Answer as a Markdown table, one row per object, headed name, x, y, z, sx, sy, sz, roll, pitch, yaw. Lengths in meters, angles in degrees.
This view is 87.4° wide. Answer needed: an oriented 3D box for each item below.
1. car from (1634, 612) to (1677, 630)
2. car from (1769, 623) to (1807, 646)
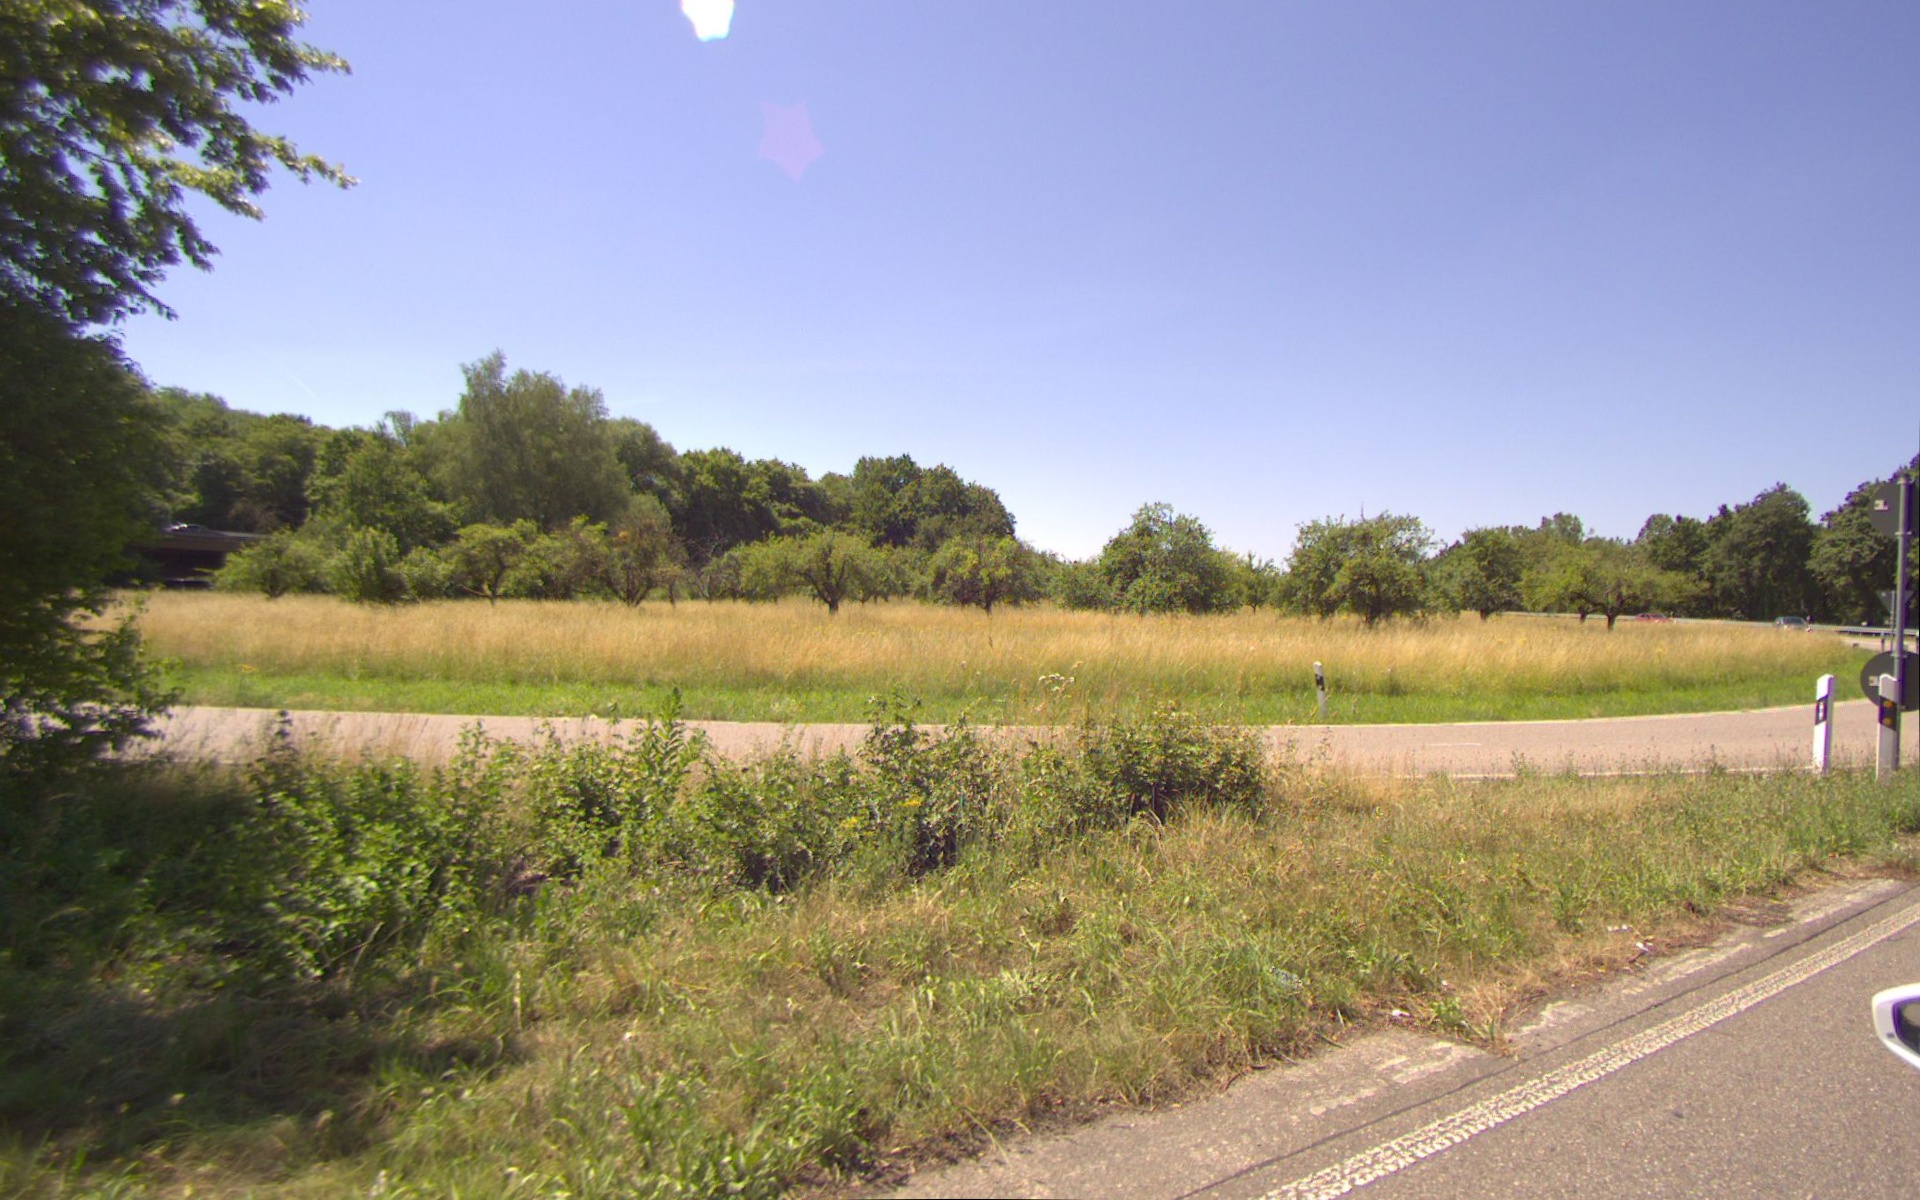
| name | x | y | z | sx | sy | sz | roll | pitch | yaw |
| --- | --- | --- | --- | --- | --- | --- | --- | --- | --- |
| car | 66.538 | 2.036 | 96.232 | 1.791 | 1.477 | 4.404 | -1 | -3 | 12 |
| car | 58.827 | 2.442 | 71.445 | 1.711 | 1.527 | 4.060 | 2 | -1 | 35 |
